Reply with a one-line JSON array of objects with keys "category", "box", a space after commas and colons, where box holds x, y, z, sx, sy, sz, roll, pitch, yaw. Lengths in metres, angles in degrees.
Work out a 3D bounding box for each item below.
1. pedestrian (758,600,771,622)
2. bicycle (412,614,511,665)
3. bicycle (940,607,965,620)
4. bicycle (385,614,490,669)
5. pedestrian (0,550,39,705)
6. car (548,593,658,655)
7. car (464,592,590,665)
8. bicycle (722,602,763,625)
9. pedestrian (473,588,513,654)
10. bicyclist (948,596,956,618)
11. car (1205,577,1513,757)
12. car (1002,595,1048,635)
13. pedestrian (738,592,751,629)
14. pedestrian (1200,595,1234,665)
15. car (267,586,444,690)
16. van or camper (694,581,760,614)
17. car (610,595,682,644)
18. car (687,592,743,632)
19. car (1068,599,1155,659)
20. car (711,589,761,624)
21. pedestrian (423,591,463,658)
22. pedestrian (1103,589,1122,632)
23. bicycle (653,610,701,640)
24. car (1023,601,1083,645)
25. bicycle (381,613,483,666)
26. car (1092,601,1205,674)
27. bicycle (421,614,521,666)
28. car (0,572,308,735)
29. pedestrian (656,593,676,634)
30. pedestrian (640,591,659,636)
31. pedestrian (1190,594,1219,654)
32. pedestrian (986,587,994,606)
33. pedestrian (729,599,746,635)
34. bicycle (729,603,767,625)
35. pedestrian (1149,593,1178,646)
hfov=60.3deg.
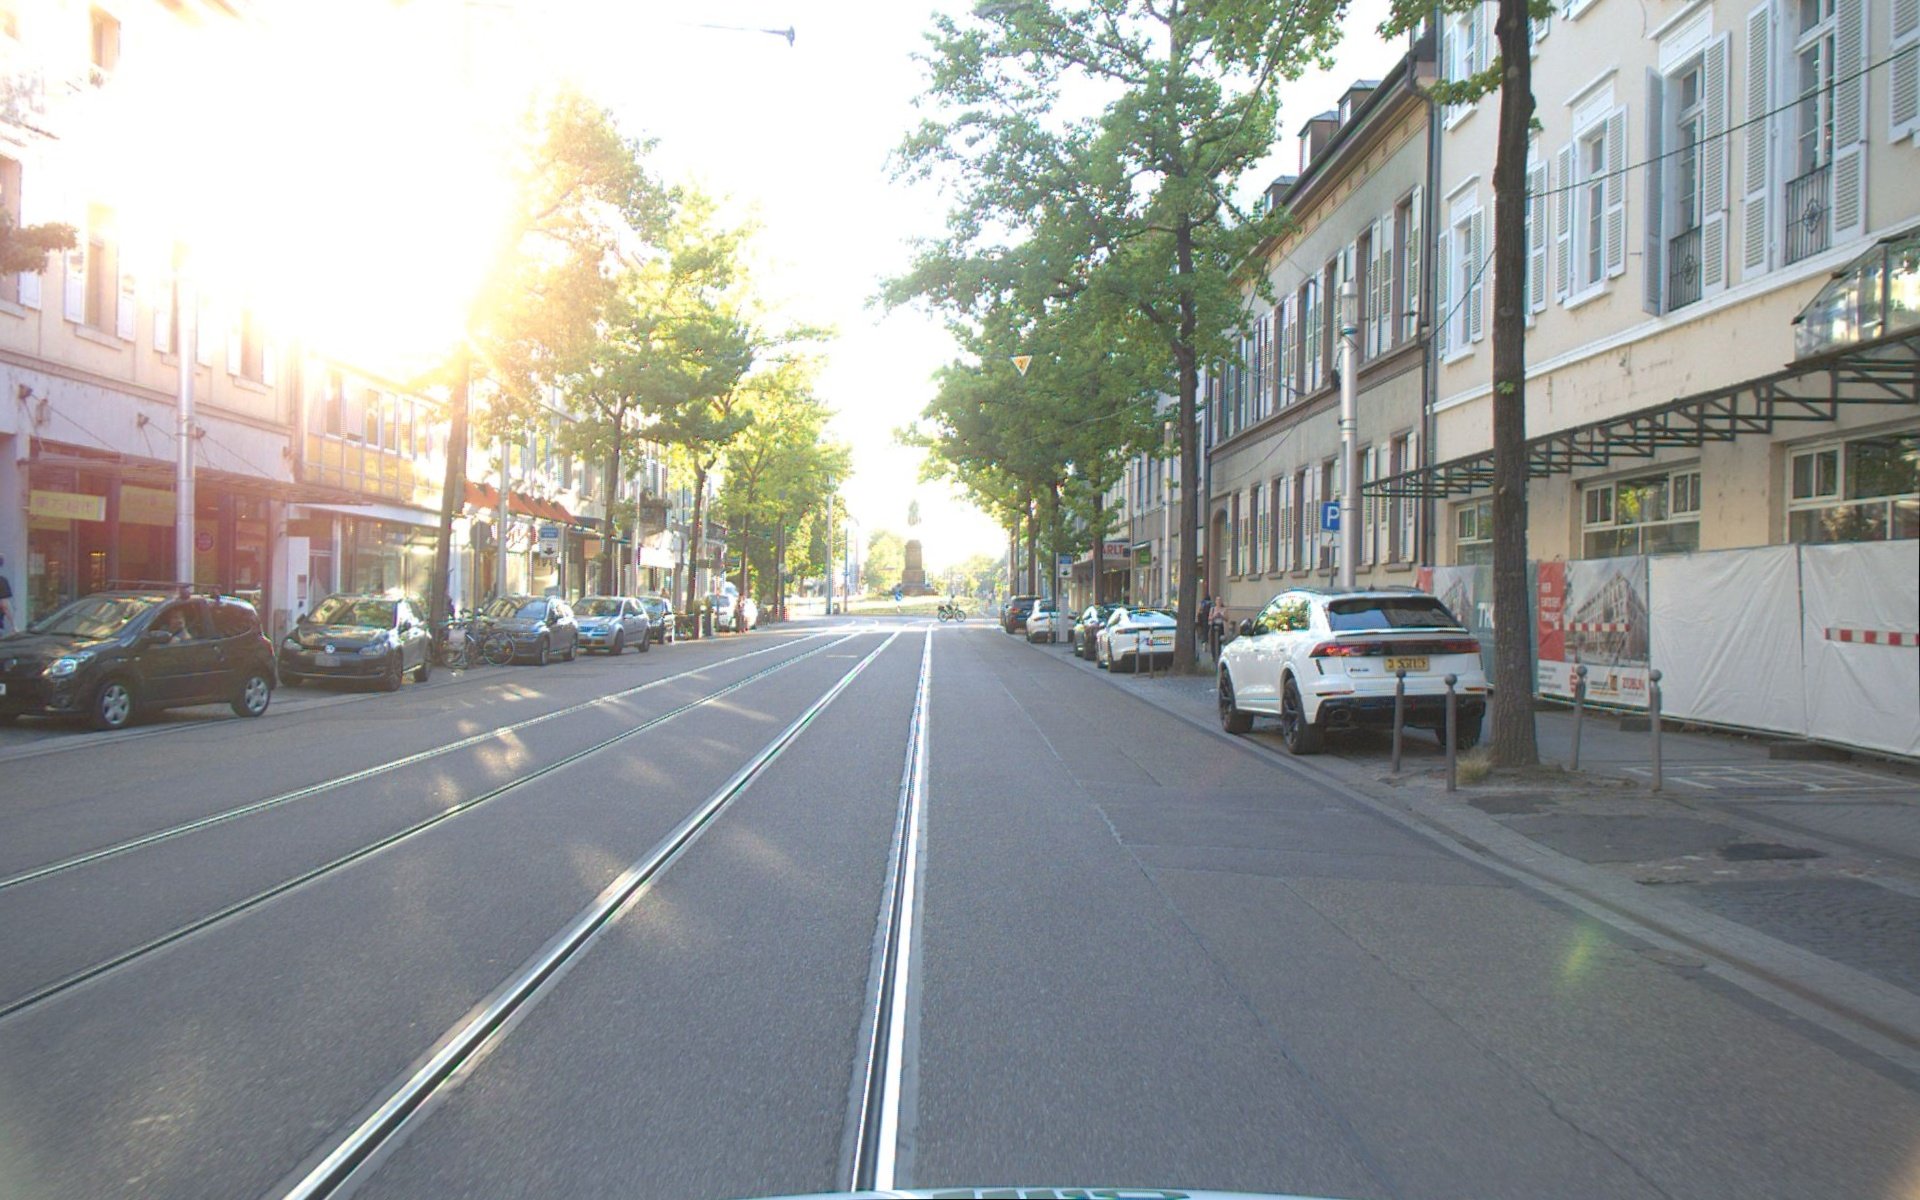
[{"category": "pedestrian", "box": [-11.479, 0.648, 97.210, 0.713, 1.313, 0.856, 1, 0, -4]}, {"category": "bicycle", "box": [-10.290, 0.810, 34.167, 1.930, 1.019, 0.330, 1, 0, 1]}, {"category": "bicycle", "box": [-0.508, 0.900, 110.346, 1.696, 0.880, 0.367, 1, 0, -2]}, {"category": "bicycle", "box": [-10.137, 0.799, 32.090, 1.930, 1.019, 0.330, 1, 0, 1]}, {"category": "pedestrian", "box": [-11.841, 0.315, 20.148, 0.646, 1.857, 0.878, 3, 0, -1]}, {"category": "car", "box": [-9.389, 0.614, 43.832, 1.730, 1.523, 4.176, 1, 0, 4]}, {"category": "car", "box": [-9.685, 0.610, 37.341, 1.677, 1.486, 4.485, 2, 0, -1]}, {"category": "bicycle", "box": [-11.580, 0.719, 88.222, 2.082, 1.124, 0.497, 3, -1, -27]}, {"category": "pedestrian", "box": [-12.236, 0.550, 43.351, 0.827, 1.723, 0.740, 0, 0, -2]}, {"category": "bicyclist", "box": [-0.522, 0.440, 110.356, 0.525, 1.463, 0.367, 1, 0, -2]}, {"category": "car", "box": [4.303, 0.676, 18.760, 1.958, 1.717, 4.963, -1, 0, -4]}, {"category": "car", "box": [3.120, 0.683, 80.244, 1.899, 1.790, 4.678, -3, 0, -1]}, {"category": "pedestrian", "box": [-9.351, 0.462, 71.776, 0.510, 1.596, 0.633, 0, -1, -1]}, {"category": "pedestrian", "box": [5.985, 0.698, 38.593, 0.636, 1.601, 0.798, 1, 0, -1]}, {"category": "car", "box": [-9.861, 0.582, 27.297, 1.758, 1.516, 4.236, 2, 0, -7]}, {"category": "van or camper", "box": [-18.158, -0.242, 128.842, 2.585, 2.516, 6.243, 0, 0, -35]}, {"category": "car", "box": [-10.251, 0.602, 54.221, 1.632, 1.453, 3.826, 3, 0, -2]}, {"category": "car", "box": [-10.927, 0.503, 73.953, 1.799, 1.607, 4.116, 4, 0, -1]}, {"category": "car", "box": [4.126, 0.758, 45.746, 1.796, 1.504, 4.760, -1, 0, -2]}, {"category": "car", "box": [-10.744, 0.295, 79.545, 1.799, 1.608, 4.701, 1, 0, -1]}, {"category": "pedestrian", "box": [-13.418, 0.626, 42.956, 0.773, 1.723, 0.913, 0, 0, -2]}, {"category": "pedestrian", "box": [6.160, 0.432, 66.917, 0.630, 1.699, 0.786, -2, 0, -1]}, {"category": "bicycle", "box": [-10.007, 0.897, 58.579, 1.582, 0.982, 0.433, 3, 0, 4]}, {"category": "car", "box": [3.516, 0.851, 63.209, 1.953, 1.524, 4.679, -3, 0, 0]}, {"category": "bicycle", "box": [-10.635, 0.791, 33.331, 1.929, 1.019, 0.419, 1, 0, 3]}, {"category": "car", "box": [4.118, 0.773, 36.918, 1.873, 1.445, 4.887, -2, 0, -1]}, {"category": "bicycle", "box": [-9.989, 0.815, 33.787, 1.930, 1.019, 0.330, 1, 0, 1]}, {"category": "car", "box": [-9.463, 0.556, 19.225, 1.595, 1.644, 3.711, 2, 0, 14]}, {"category": "pedestrian", "box": [-13.291, 0.607, 74.822, 0.707, 1.791, 1.090, 1, 0, -1]}, {"category": "pedestrian", "box": [-14.056, 0.601, 74.810, 0.707, 2.049, 0.642, 1, 0, -1]}, {"category": "pedestrian", "box": [7.059, 0.690, 47.805, 0.644, 1.694, 0.888, -2, 0, -2]}, {"category": "pedestrian", "box": [2.609, -0.336, 145.275, 0.623, 1.634, 0.771, 0, 0, -4]}, {"category": "pedestrian", "box": [-9.546, 0.732, 71.010, 0.607, 1.536, 0.729, 0, -1, -1]}, {"category": "bicycle", "box": [-11.641, 0.749, 90.912, 1.982, 1.124, 0.501, 2, -1, 1]}, {"category": "pedestrian", "box": [7.155, 0.679, 58.225, 0.841, 1.783, 0.932, -2, 0, -1]}]
